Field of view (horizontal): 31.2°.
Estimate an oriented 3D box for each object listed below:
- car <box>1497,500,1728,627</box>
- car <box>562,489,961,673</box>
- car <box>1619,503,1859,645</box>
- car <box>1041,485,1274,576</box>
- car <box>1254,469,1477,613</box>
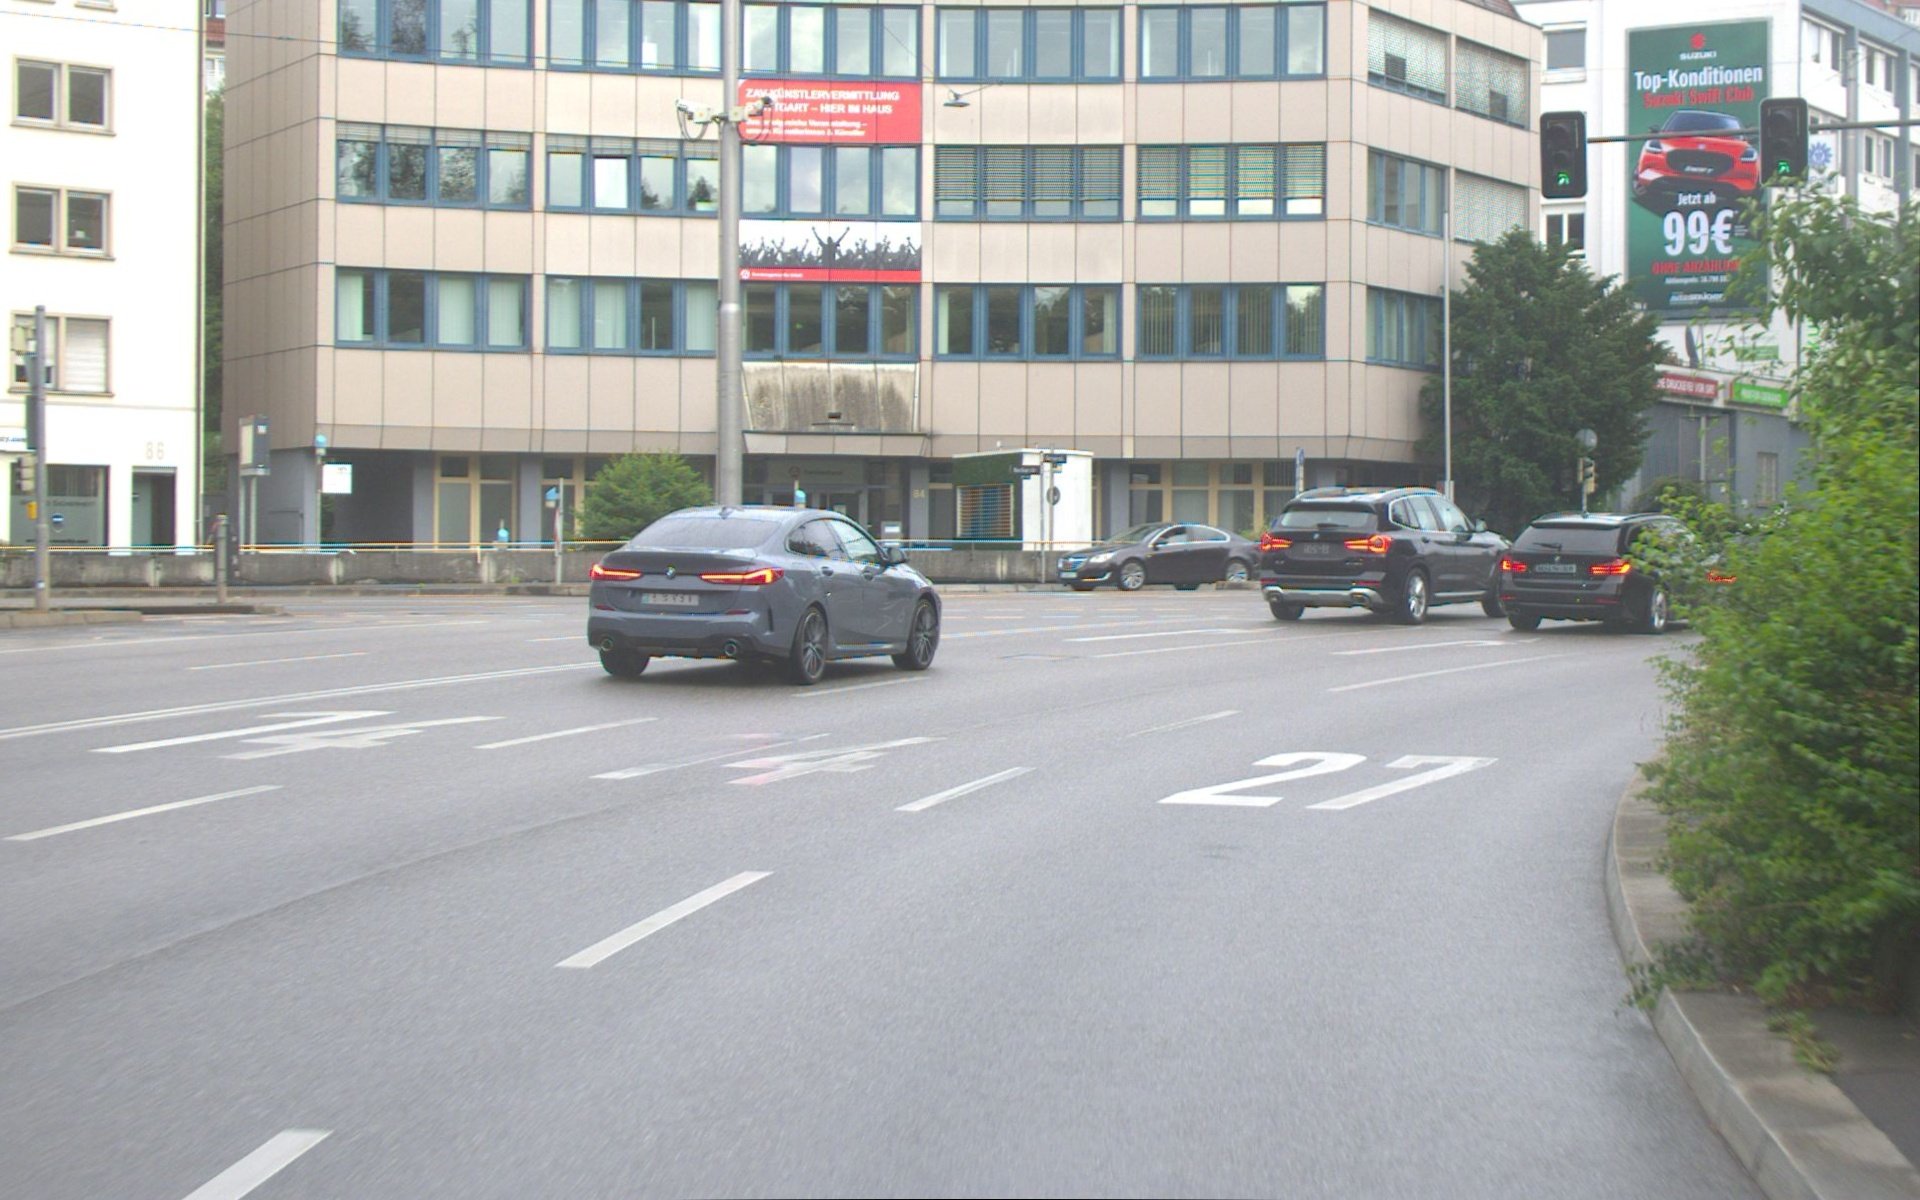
[{"bbox_3d":[7.961,-0.483,41.614,1.793,1.421,4.608,1,2,23],"label":"car"},{"bbox_3d":[-1.575,-0.166,29.026,1.792,1.422,4.380,0,0,20],"label":"car"},{"bbox_3d":[8.371,-0.278,36.699,1.960,1.422,4.121,0,0,21],"label":"car"},{"bbox_3d":[4.096,-1.428,71.184,4.425,1.837,2.000,0,0,-29],"label":"car"},{"bbox_3d":[5.086,-0.712,42.725,1.902,1.687,3.996,0,0,20],"label":"car"}]
